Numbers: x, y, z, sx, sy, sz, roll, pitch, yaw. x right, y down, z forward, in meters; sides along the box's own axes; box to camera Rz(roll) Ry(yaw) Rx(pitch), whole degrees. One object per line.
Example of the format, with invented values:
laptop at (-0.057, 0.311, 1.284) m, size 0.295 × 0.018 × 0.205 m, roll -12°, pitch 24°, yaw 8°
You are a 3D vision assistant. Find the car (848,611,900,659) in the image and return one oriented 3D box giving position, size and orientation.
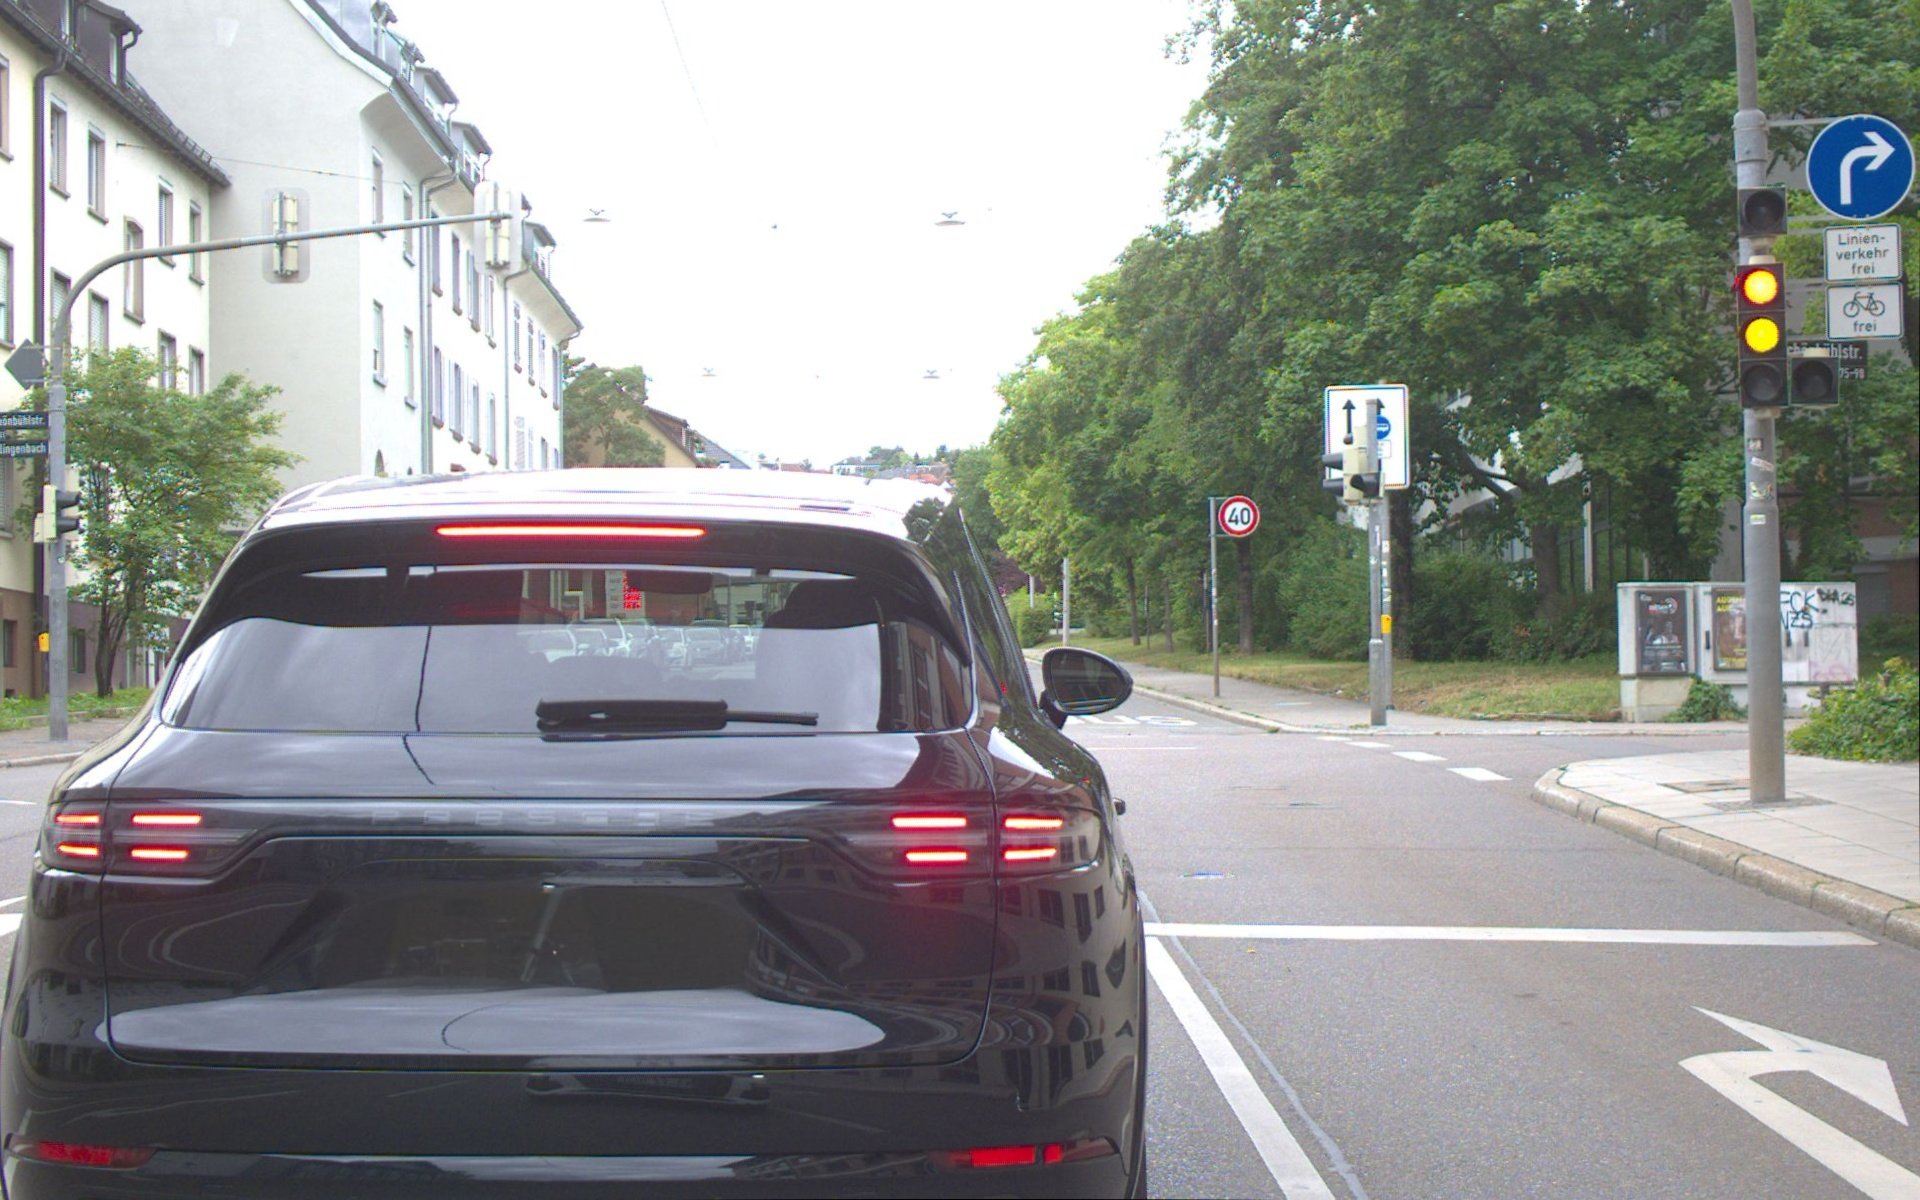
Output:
car at (-2.951, 1.188, 117.590) m, size 1.688 × 1.547 × 3.889 m, roll 1°, pitch 1°, yaw -2°

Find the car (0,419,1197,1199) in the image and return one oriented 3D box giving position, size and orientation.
car at (-0.677, 0.567, 7.115) m, size 1.993 × 1.691 × 4.000 m, roll 1°, pitch 1°, yaw -1°

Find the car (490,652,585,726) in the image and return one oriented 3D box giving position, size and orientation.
car at (-8.524, 1.777, 69.613) m, size 1.669 × 1.357 × 4.001 m, roll 0°, pitch 1°, yaw -3°

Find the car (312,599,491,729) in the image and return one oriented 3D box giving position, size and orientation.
car at (-7.342, 0.814, 45.489) m, size 1.664 × 1.514 × 3.740 m, roll -4°, pitch 1°, yaw 0°
